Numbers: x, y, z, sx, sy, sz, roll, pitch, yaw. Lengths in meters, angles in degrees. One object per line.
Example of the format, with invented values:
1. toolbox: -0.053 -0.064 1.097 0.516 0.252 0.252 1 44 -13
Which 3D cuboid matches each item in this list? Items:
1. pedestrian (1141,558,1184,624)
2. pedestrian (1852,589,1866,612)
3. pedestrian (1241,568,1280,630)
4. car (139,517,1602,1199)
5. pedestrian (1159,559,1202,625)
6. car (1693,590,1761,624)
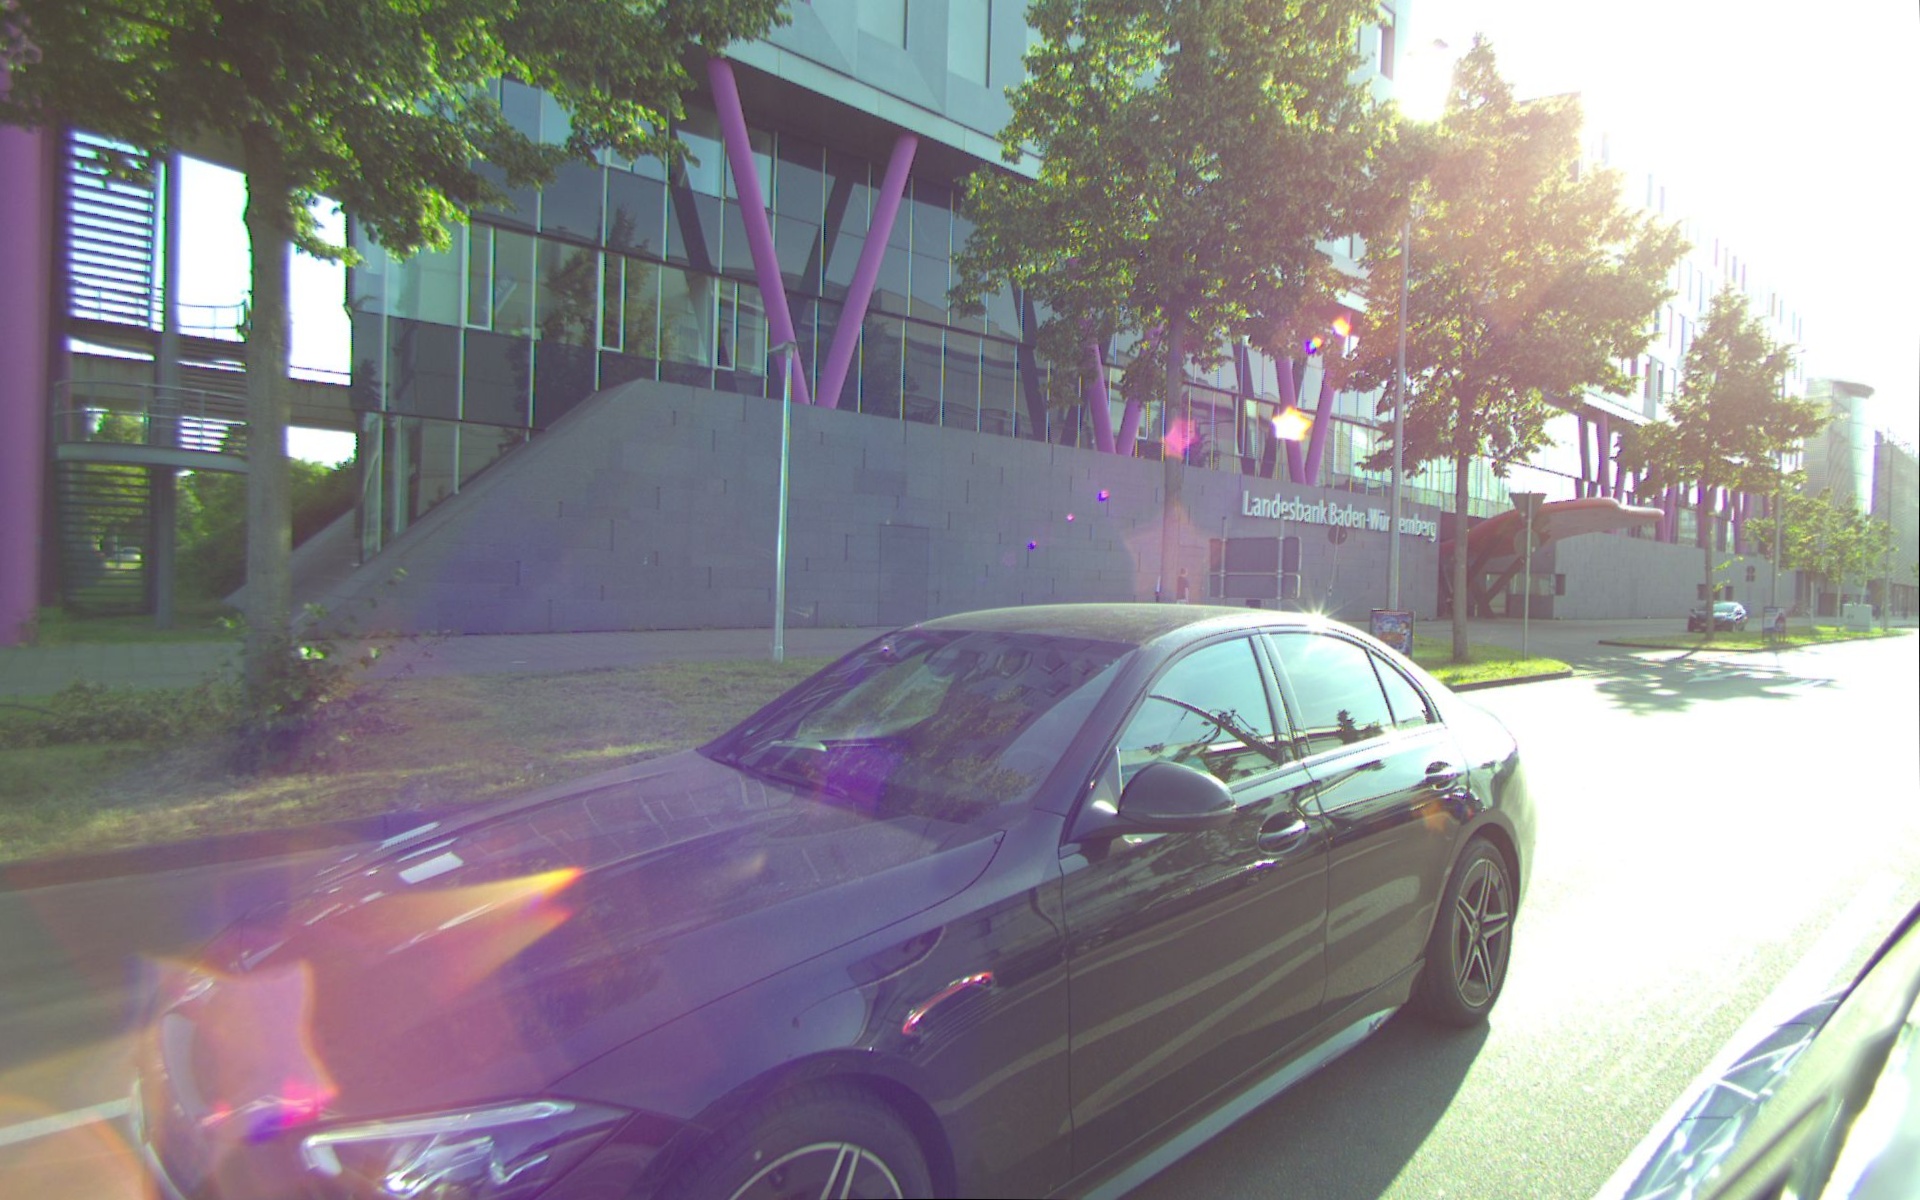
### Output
1. pedestrian: 5.882 -0.277 29.406 0.838 1.847 0.769 1 3 -41
2. pedestrian: 74.273 0.046 83.639 0.758 1.808 0.725 0 1 -41
3. pedestrian: 8.358 -0.025 28.175 0.724 1.658 0.695 1 3 -41
4. car: 0.267 0.655 3.266 4.475 1.468 1.842 1 0 -41
5. pedestrian: 6.319 -0.235 29.003 0.829 1.815 0.756 1 3 -41
6. car: 34.822 0.328 45.891 4.126 1.407 1.694 1 1 -42
